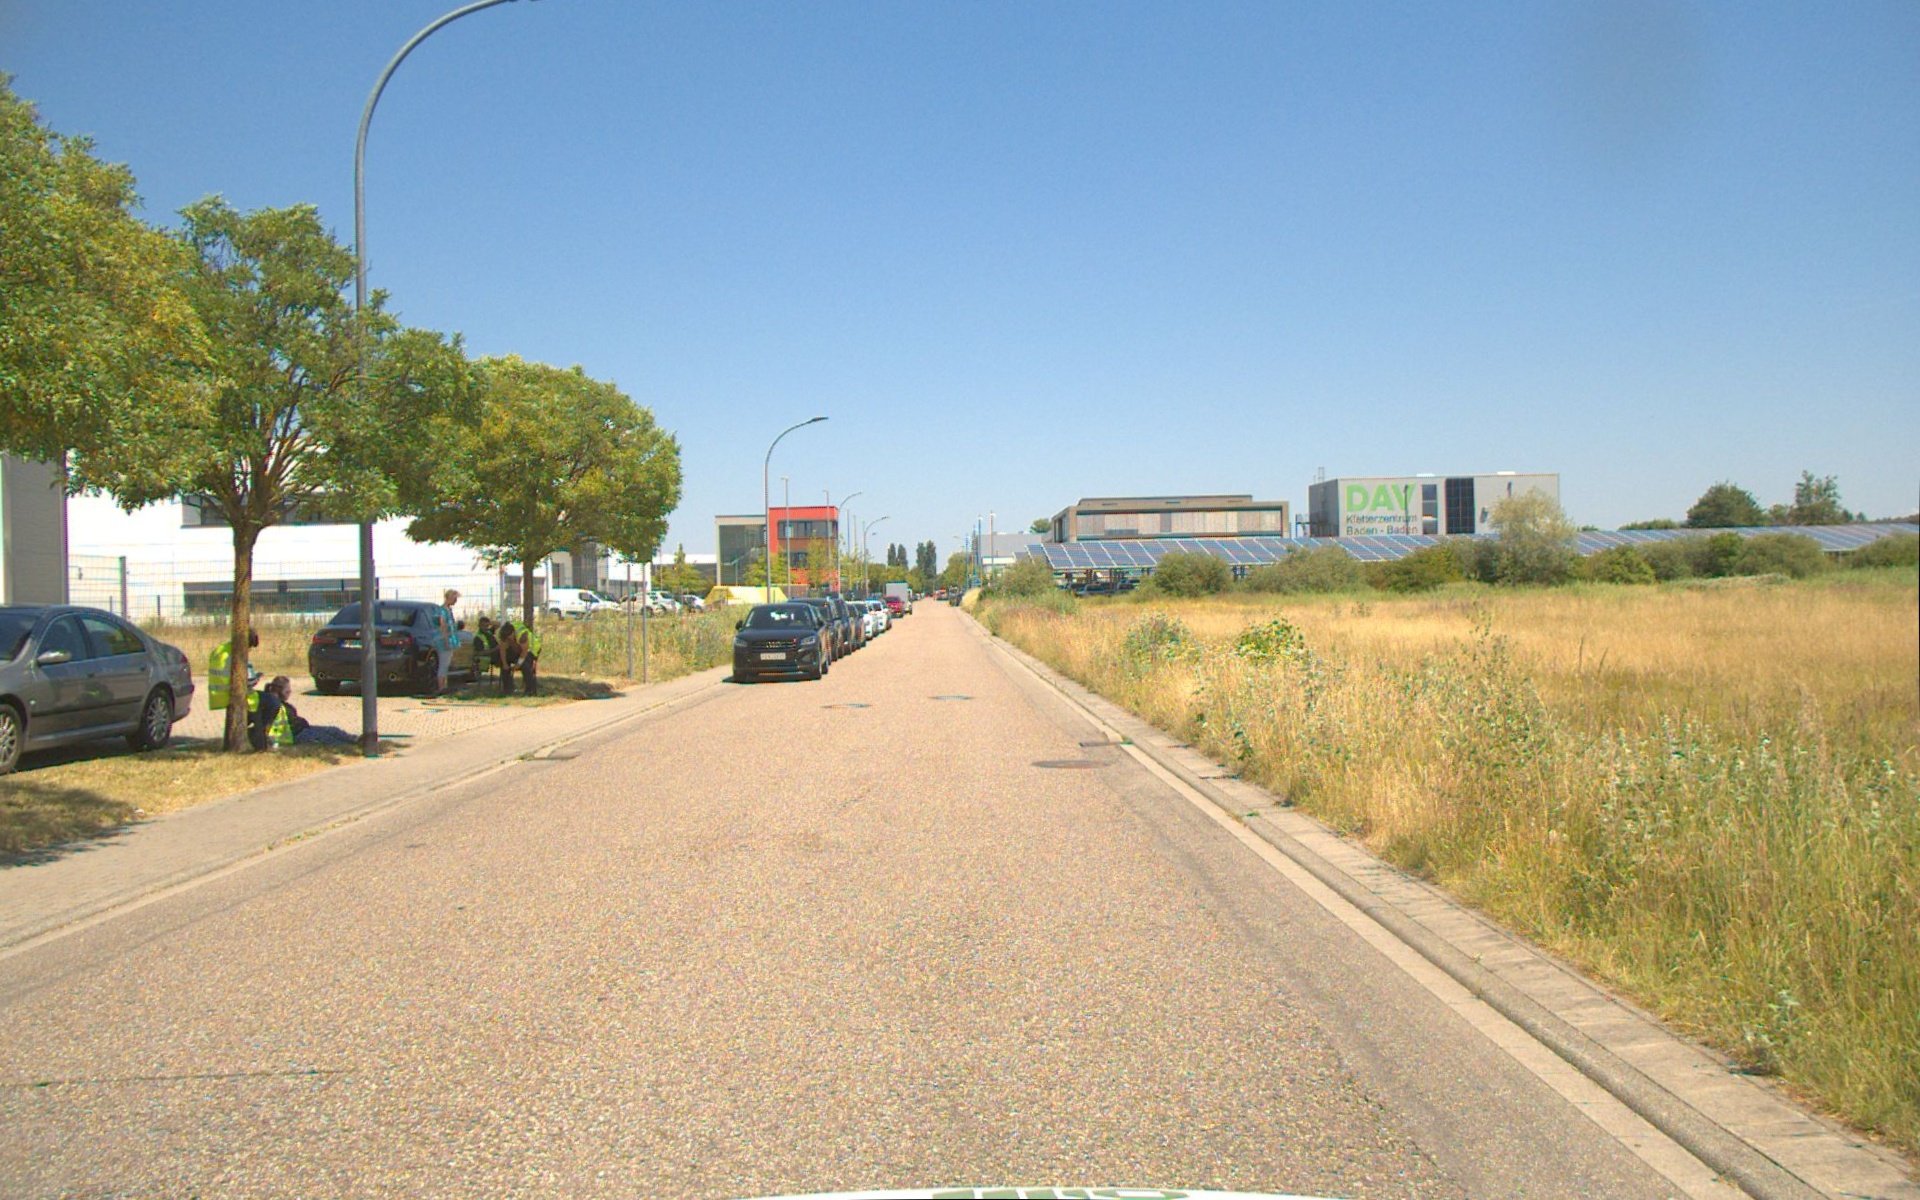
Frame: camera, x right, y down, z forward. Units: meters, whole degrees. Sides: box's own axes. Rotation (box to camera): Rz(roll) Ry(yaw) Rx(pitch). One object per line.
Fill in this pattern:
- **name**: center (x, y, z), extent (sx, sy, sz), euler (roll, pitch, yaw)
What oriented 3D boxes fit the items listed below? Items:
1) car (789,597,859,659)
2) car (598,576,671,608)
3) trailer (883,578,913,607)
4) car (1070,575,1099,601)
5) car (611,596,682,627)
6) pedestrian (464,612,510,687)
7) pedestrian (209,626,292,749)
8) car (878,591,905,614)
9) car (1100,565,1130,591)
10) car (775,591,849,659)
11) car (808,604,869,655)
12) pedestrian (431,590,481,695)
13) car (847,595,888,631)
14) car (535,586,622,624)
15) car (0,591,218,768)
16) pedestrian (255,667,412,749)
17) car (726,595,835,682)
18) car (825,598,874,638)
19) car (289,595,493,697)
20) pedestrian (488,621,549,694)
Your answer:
- **car**: center (-4.064, 0.806, 49.981), extent (1.733, 1.692, 4.551), euler (-2, 1, -1)
- **car**: center (-21.920, -0.514, 111.579), extent (4.436, 1.977, 2.031), euler (-2, 0, -1)
- **trailer**: center (-4.803, -0.582, 128.098), extent (2.156, 2.175, 4.285), euler (-2, 0, -1)
- **car**: center (10.239, -0.954, 135.921), extent (1.953, 2.049, 3.999), euler (-2, 0, -1)
- **car**: center (-21.734, 0.817, 114.829), extent (4.436, 1.977, 2.031), euler (-2, 0, -1)
- **pedestrian**: center (-7.850, 0.814, 27.482), extent (0.495, 1.212, 0.753), euler (1, 0, 1)
- **pedestrian**: center (-6.961, 0.854, 16.241), extent (0.468, 1.170, 0.555), euler (1, -2, 9)
- **car**: center (-4.788, 0.177, 116.593), extent (1.750, 1.547, 3.982), euler (-2, 0, -1)
- **car**: center (12.739, -1.797, 136.047), extent (1.953, 2.049, 3.999), euler (-2, 0, -1)
- **car**: center (-3.958, 0.629, 44.868), extent (1.643, 1.692, 4.235), euler (-2, 1, -1)
- **car**: center (-4.078, 0.964, 56.083), extent (1.733, 1.511, 5.014), euler (-2, 1, -1)
- **pedestrian**: center (-7.983, 0.663, 26.219), extent (0.495, 1.623, 0.753), euler (1, 0, 1)
- **car**: center (-4.374, 0.594, 78.476), extent (1.750, 1.547, 3.982), euler (-2, 1, -1)
- **car**: center (-21.761, 0.277, 94.418), extent (4.436, 1.977, 2.031), euler (-2, 0, -1)
- **car**: center (-8.880, 0.708, 15.233), extent (1.887, 1.466, 4.840), euler (-2, -1, 0)
- **pedestrian**: center (-6.534, 1.119, 17.295), extent (1.330, 0.762, 0.753), euler (2, 0, 1)
- **car**: center (-3.647, 0.736, 34.188), extent (1.888, 1.594, 4.188), euler (-2, 1, -2)
- **car**: center (-4.453, 0.705, 67.212), extent (1.750, 1.547, 3.982), euler (-2, 0, -1)
- **car**: center (-9.302, 0.687, 27.486), extent (1.888, 1.490, 4.690), euler (1, 0, -2)
- **pedestrian**: center (-6.959, 0.901, 26.074), extent (0.735, 1.118, 0.647), euler (1, 0, 3)
